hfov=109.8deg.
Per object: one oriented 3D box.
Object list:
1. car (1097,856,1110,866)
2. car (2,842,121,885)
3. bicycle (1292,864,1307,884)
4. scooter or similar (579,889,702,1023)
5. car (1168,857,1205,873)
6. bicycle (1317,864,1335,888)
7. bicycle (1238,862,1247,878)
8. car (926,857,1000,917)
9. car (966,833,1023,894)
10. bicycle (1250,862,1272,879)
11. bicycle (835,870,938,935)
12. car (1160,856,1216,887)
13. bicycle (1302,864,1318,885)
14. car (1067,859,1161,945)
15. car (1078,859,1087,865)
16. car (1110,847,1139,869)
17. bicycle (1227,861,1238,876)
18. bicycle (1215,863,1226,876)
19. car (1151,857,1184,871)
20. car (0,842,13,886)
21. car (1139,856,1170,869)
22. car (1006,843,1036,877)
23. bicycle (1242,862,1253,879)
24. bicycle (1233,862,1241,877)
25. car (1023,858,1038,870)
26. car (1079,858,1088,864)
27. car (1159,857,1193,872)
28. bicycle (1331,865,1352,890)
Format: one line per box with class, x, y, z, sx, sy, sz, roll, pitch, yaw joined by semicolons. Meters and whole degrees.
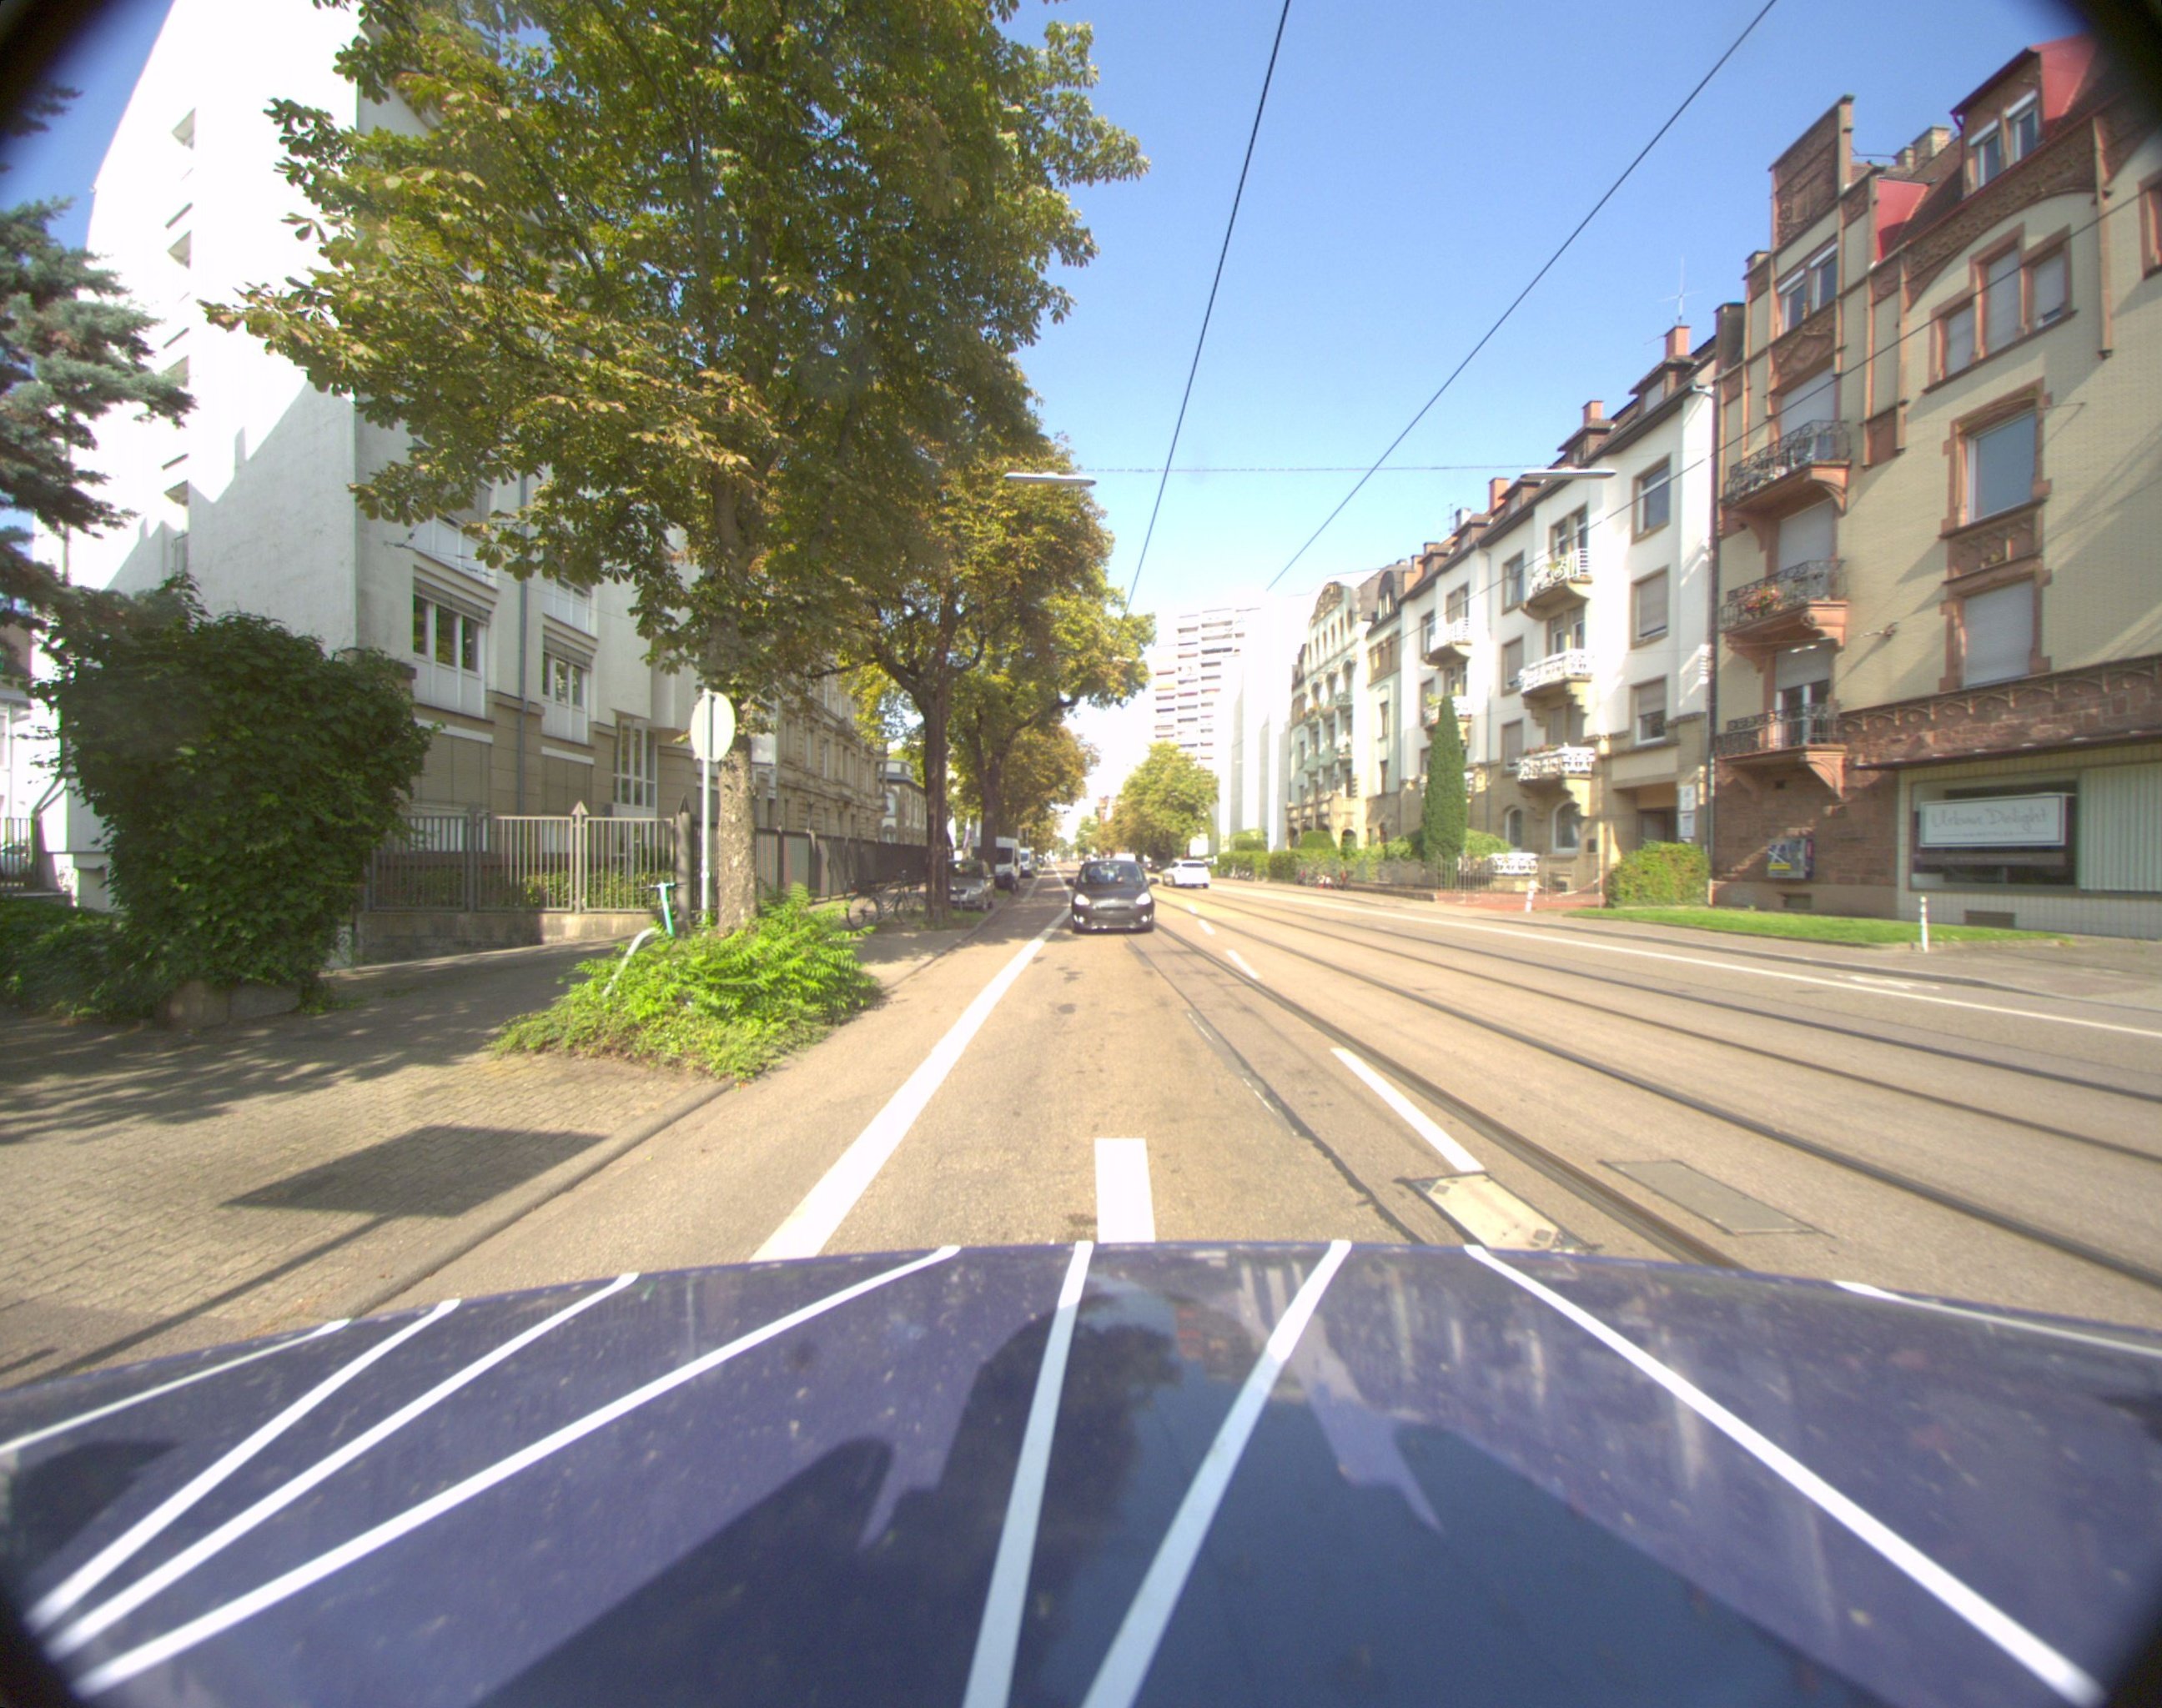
car;3.431;1.041;117.094;1.701;1.395;4.644;-1;0;-3
car;-39.649;0.330;29.561;3.990;1.557;1.839;1;0;23
bicycle;11.765;1.062;40.894;0.371;1.081;1.355;1;0;-3
scooter or similar;-4.459;1.000;7.757;0.559;1.190;1.034;4;1;3
car;10.387;1.076;74.533;1.767;1.518;4.009;1;0;39
bicycle;11.707;1.050;36.361;0.371;1.081;1.355;1;0;-3
bicycle;11.246;1.098;52.992;0.425;1.081;1.677;1;0;7
car;-3.409;0.897;22.683;1.611;1.515;4.356;4;0;-2
car;-3.792;0.385;34.410;2.051;2.484;6.227;1;0;-2
bicycle;11.826;1.081;49.910;1.397;1.081;0.425;1;0;-20
bicycle;-3.804;0.953;14.976;1.847;1.160;0.503;3;4;-42
car;5.530;0.870;39.972;1.878;1.446;4.543;3;0;-5
bicycle;11.778;1.050;39.123;0.371;1.081;1.355;1;0;-3
car;0.570;0.884;16.074;1.611;1.515;4.356;-1;0;-2
car;0.295;1.822;174.321;1.758;1.349;3.787;1;0;-3
car;4.105;0.393;72.338;1.999;2.002;4.857;1;0;-5
bicycle;11.116;1.086;55.810;0.425;1.081;1.676;1;0;0
bicycle;10.877;1.184;59.136;0.425;0.972;1.769;1;0;-3
car;9.641;1.068;84.830;1.767;1.518;4.009;1;0;39
car;-40.611;0.350;27.239;3.990;1.557;1.839;1;0;23
car;9.083;1.044;93.664;1.767;1.518;4.009;1;0;39
car;-4.817;0.490;61.366;1.999;2.526;5.867;2;0;-1
bicycle;11.170;1.108;50.892;0.425;1.081;1.677;1;0;2
bicycle;11.066;1.086;53.796;0.425;1.081;1.677;1;0;7
car;-5.957;1.131;89.692;1.758;1.349;3.787;1;0;-3
car;0.470;1.483;158.744;1.757;1.349;3.788;1;0;-1
car;10.312;1.094;81.999;1.767;1.518;4.009;1;0;39
bicycle;11.859;1.055;34.590;0.371;1.081;1.487;1;0;-3
